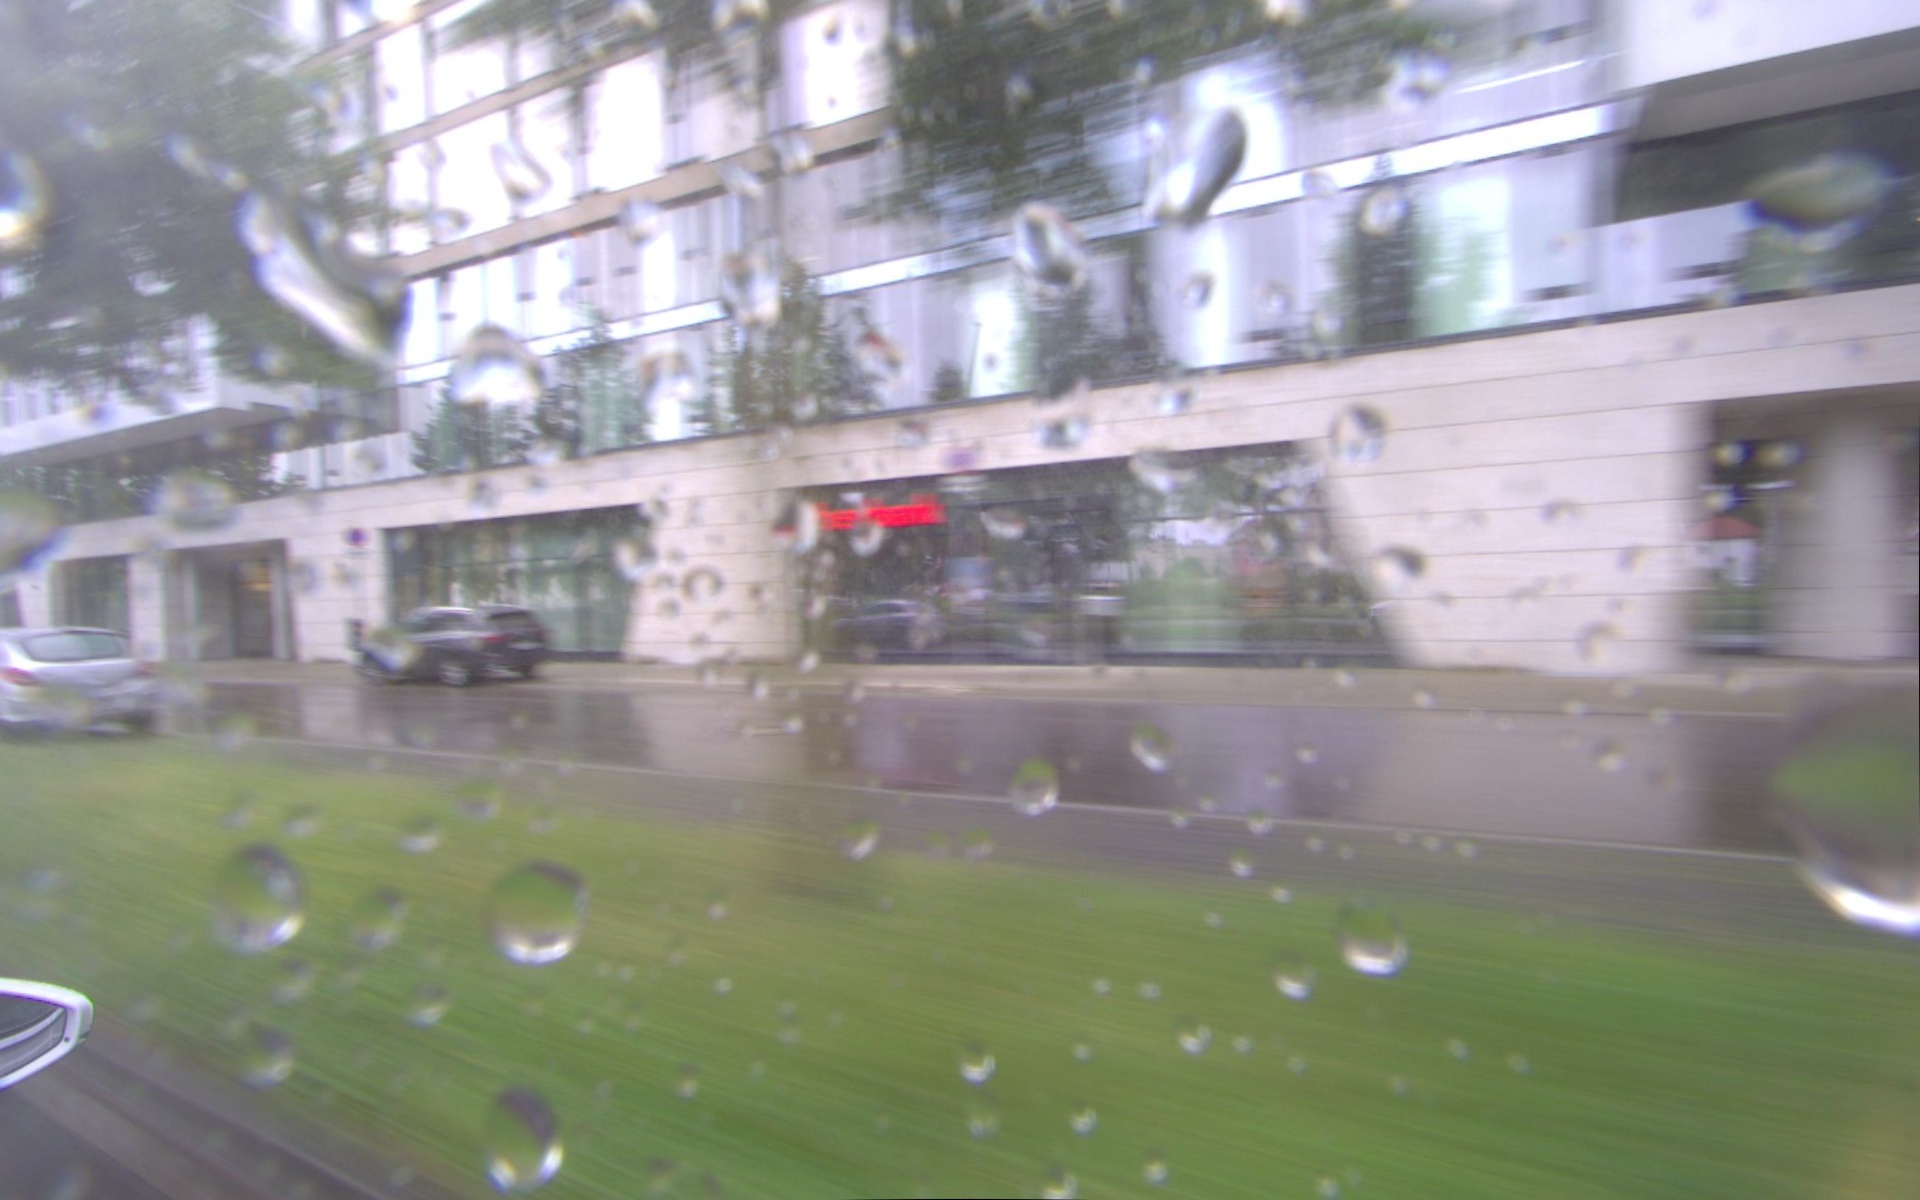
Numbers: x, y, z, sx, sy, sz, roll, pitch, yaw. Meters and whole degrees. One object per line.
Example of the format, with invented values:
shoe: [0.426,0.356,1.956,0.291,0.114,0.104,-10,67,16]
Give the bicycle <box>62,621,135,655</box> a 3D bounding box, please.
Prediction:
bicycle: [-29.147,1.277,33.901,0.395,1.042,1.803,-1,1,31]

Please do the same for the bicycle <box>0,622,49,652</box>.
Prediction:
bicycle: [-34.627,1.368,36.689,0.406,1.042,1.746,-1,1,31]

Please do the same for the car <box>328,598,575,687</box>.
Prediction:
car: [-10.284,0.765,20.179,4.957,1.522,1.989,0,3,30]

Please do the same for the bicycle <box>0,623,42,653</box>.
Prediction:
bicycle: [-35.086,1.406,36.965,0.417,1.042,1.690,-1,1,31]

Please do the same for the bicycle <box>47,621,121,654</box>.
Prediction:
bicycle: [-30.234,1.281,34.580,0.533,1.042,1.803,-1,1,31]

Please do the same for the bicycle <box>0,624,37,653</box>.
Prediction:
bicycle: [-35.521,1.432,37.238,0.417,1.042,1.690,-1,1,31]

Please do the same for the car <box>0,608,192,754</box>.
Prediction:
car: [-12.685,0.962,13.601,4.650,1.527,1.878,1,2,29]

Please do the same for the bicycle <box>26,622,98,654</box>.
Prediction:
bicycle: [-31.916,1.351,35.628,0.533,1.042,1.803,-1,1,31]
